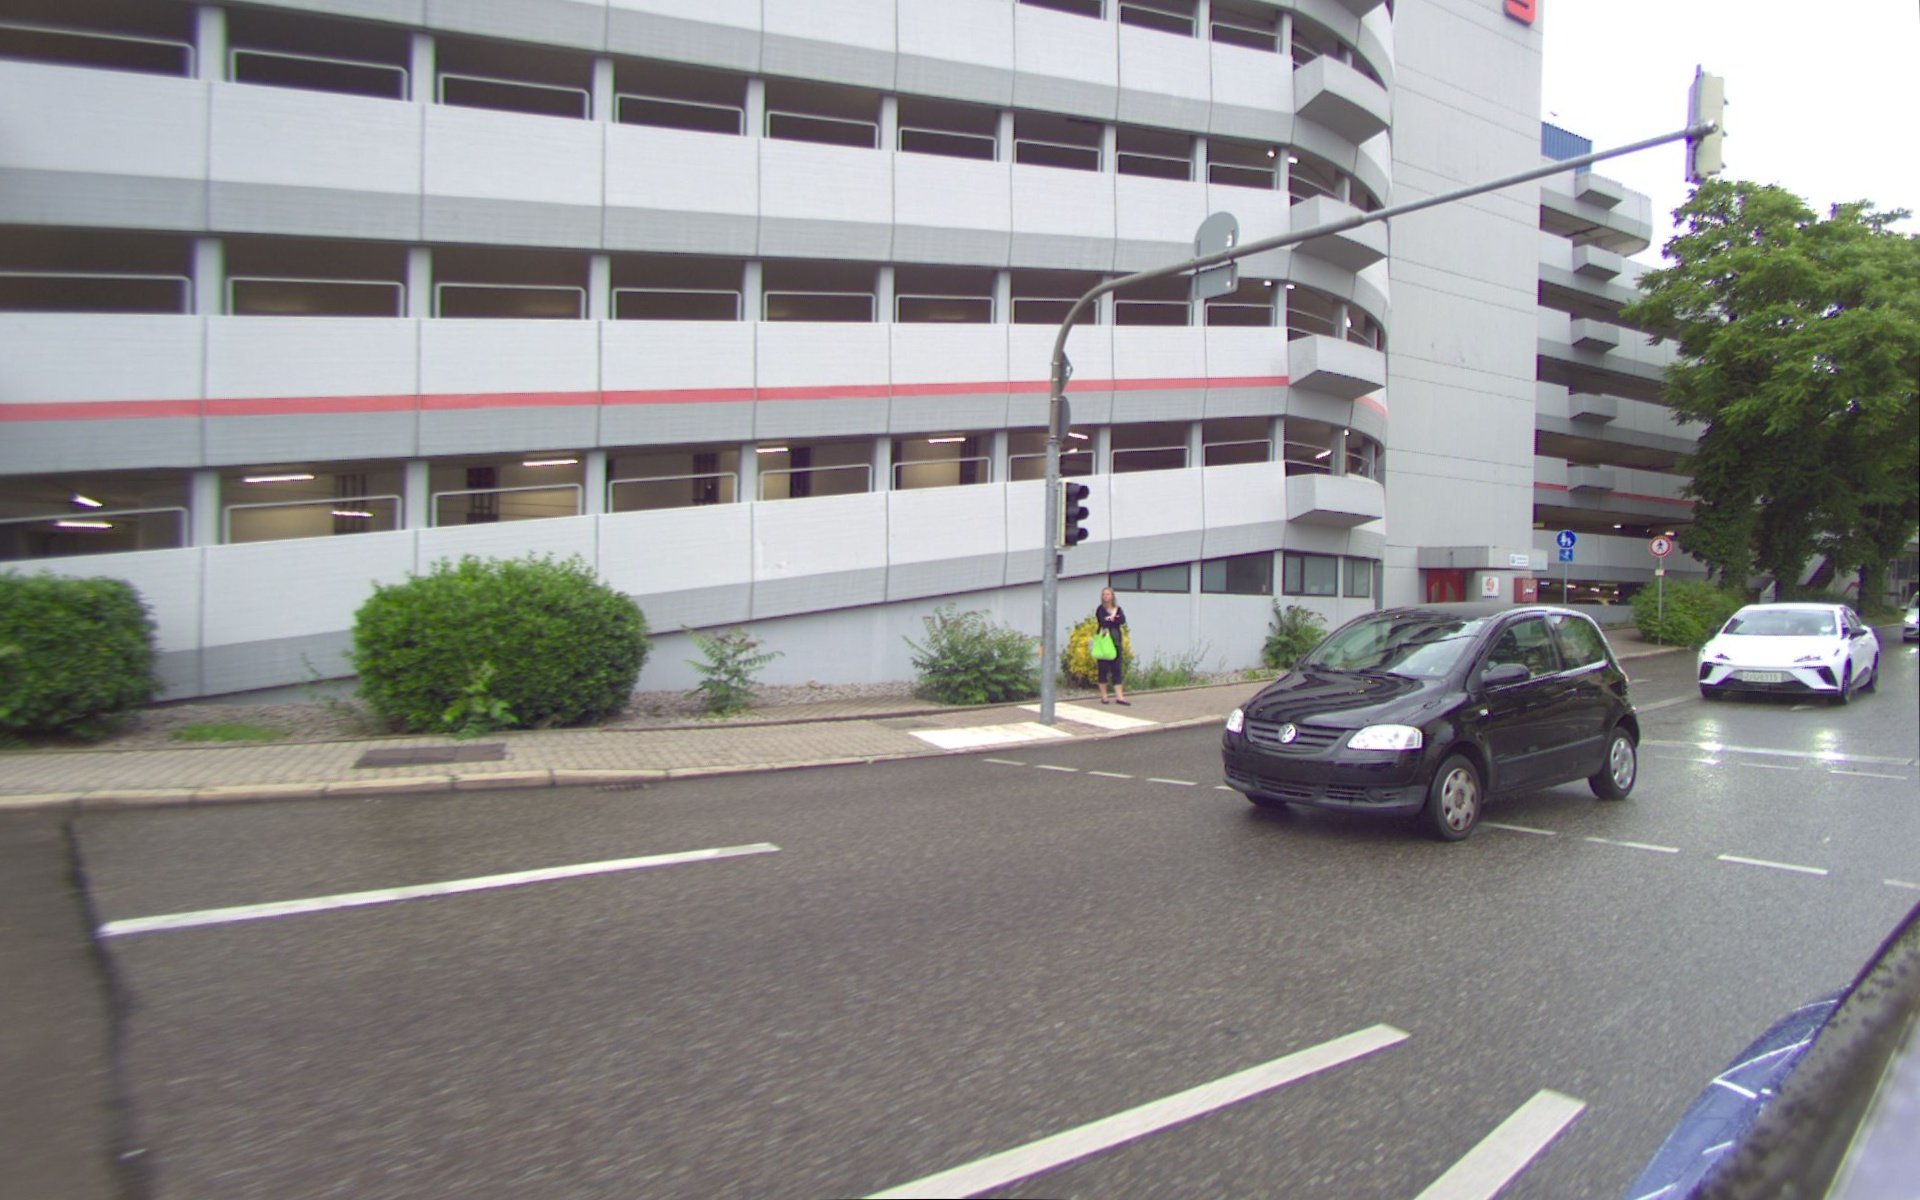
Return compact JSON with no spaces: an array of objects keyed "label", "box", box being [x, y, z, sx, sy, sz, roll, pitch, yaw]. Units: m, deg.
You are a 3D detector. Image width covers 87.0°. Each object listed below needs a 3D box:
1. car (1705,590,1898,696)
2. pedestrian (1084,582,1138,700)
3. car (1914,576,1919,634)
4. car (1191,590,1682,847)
[{"label":"car","box":[13.666,0.628,16.357,4.137,1.497,1.802,0,-1,-42]},{"label":"pedestrian","box":[2.237,0.592,15.037,0.508,1.679,0.586,0,3,-25]},{"label":"car","box":[31.085,0.211,31.358,4.326,1.748,1.995,1,1,-44]},{"label":"car","box":[3.686,0.705,7.681,3.672,1.512,1.679,0,-1,-33]}]
